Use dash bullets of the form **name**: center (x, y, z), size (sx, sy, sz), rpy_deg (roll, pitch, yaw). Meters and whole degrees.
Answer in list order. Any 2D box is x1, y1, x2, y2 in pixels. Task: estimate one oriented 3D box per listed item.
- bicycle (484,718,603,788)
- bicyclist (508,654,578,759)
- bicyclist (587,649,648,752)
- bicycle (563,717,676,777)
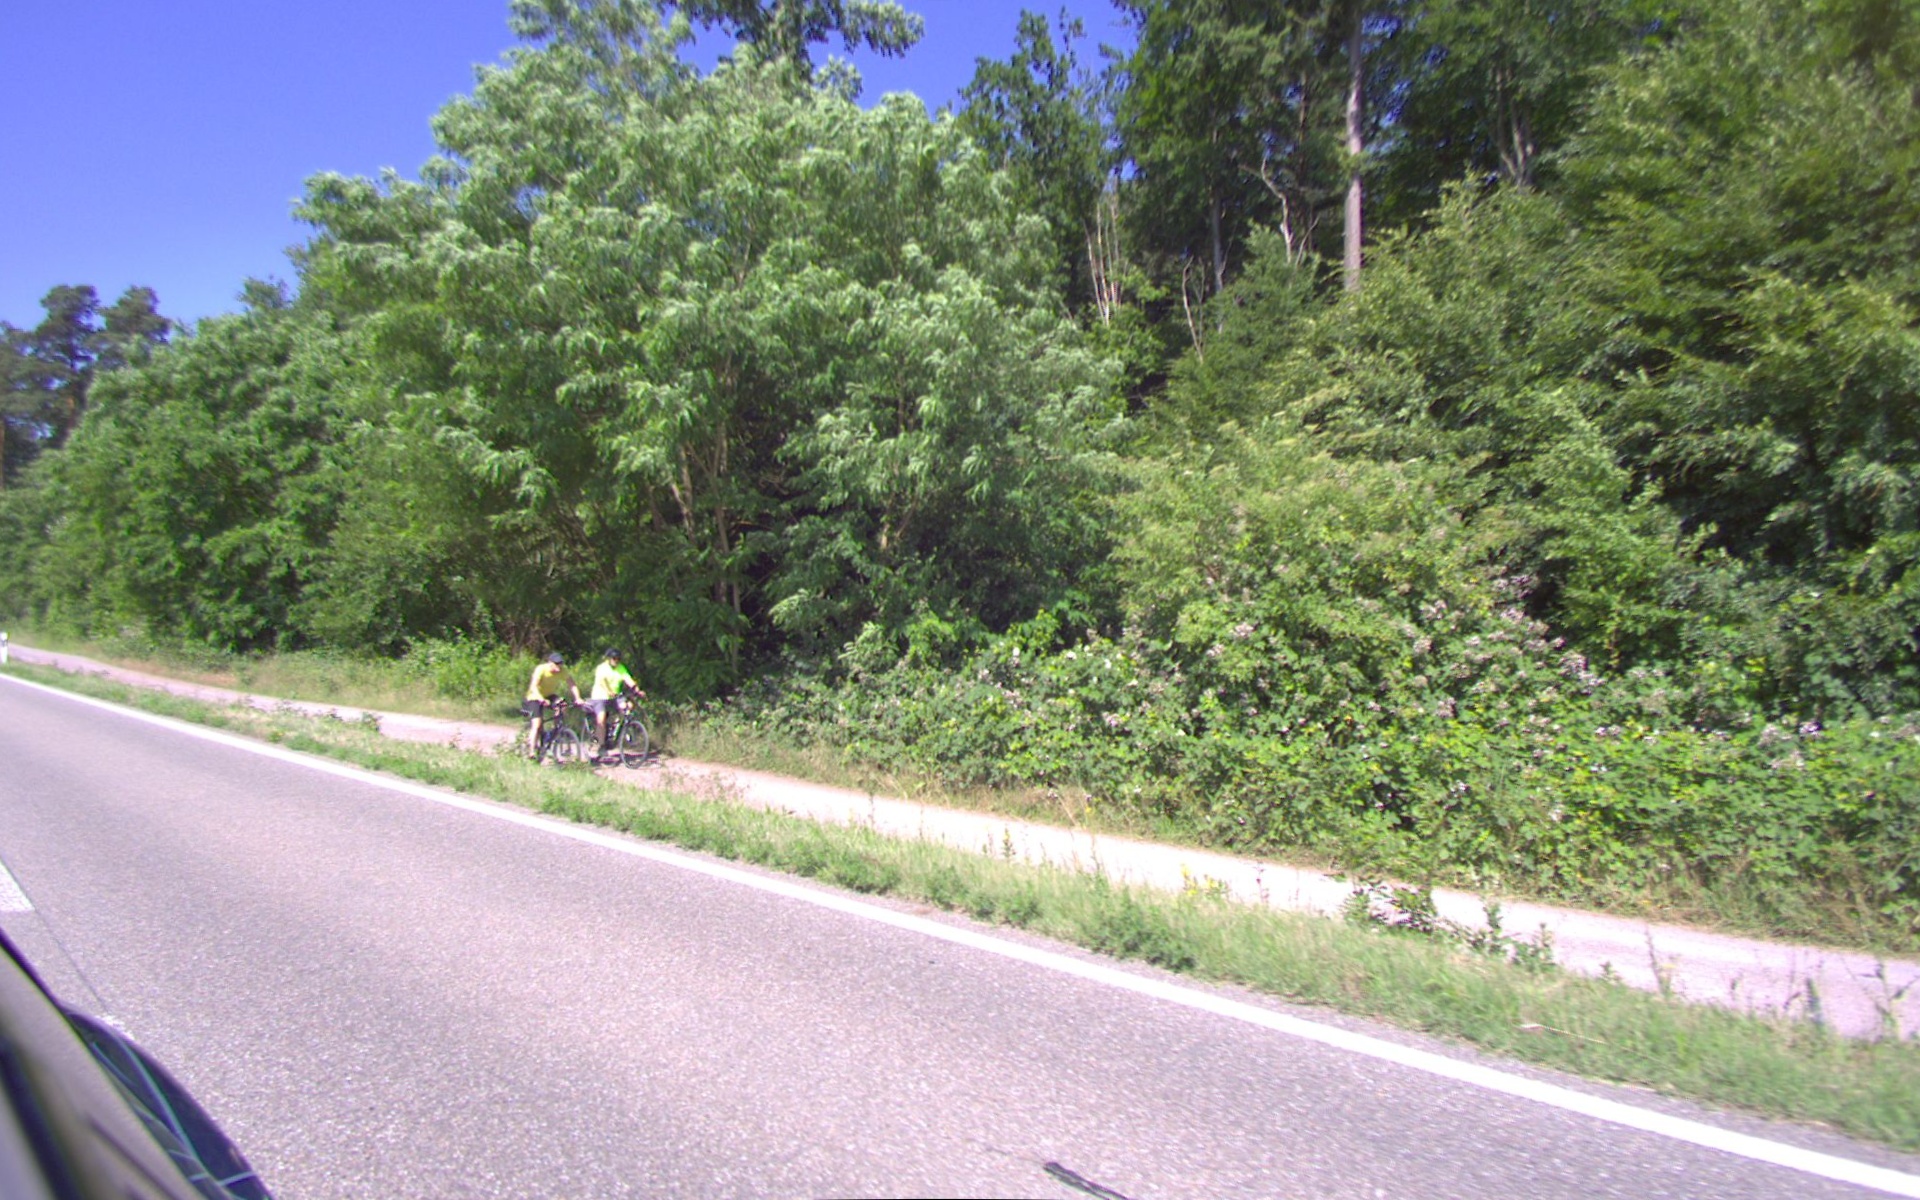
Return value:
- **bicycle**: center (-5.906, 2.126, 14.295), size (2.136, 0.794, 0.633), rpy_deg (-2, -5, 41)
- **bicyclist**: center (-5.918, 1.493, 14.353), size (0.702, 1.426, 0.599), rpy_deg (-2, -5, 41)
- **bicyclist**: center (-5.160, 1.492, 15.250), size (0.702, 1.426, 0.599), rpy_deg (1, 2, 41)
- **bicycle**: center (-5.141, 2.186, 15.215), size (2.135, 0.686, 0.612), rpy_deg (-2, -3, 41)
